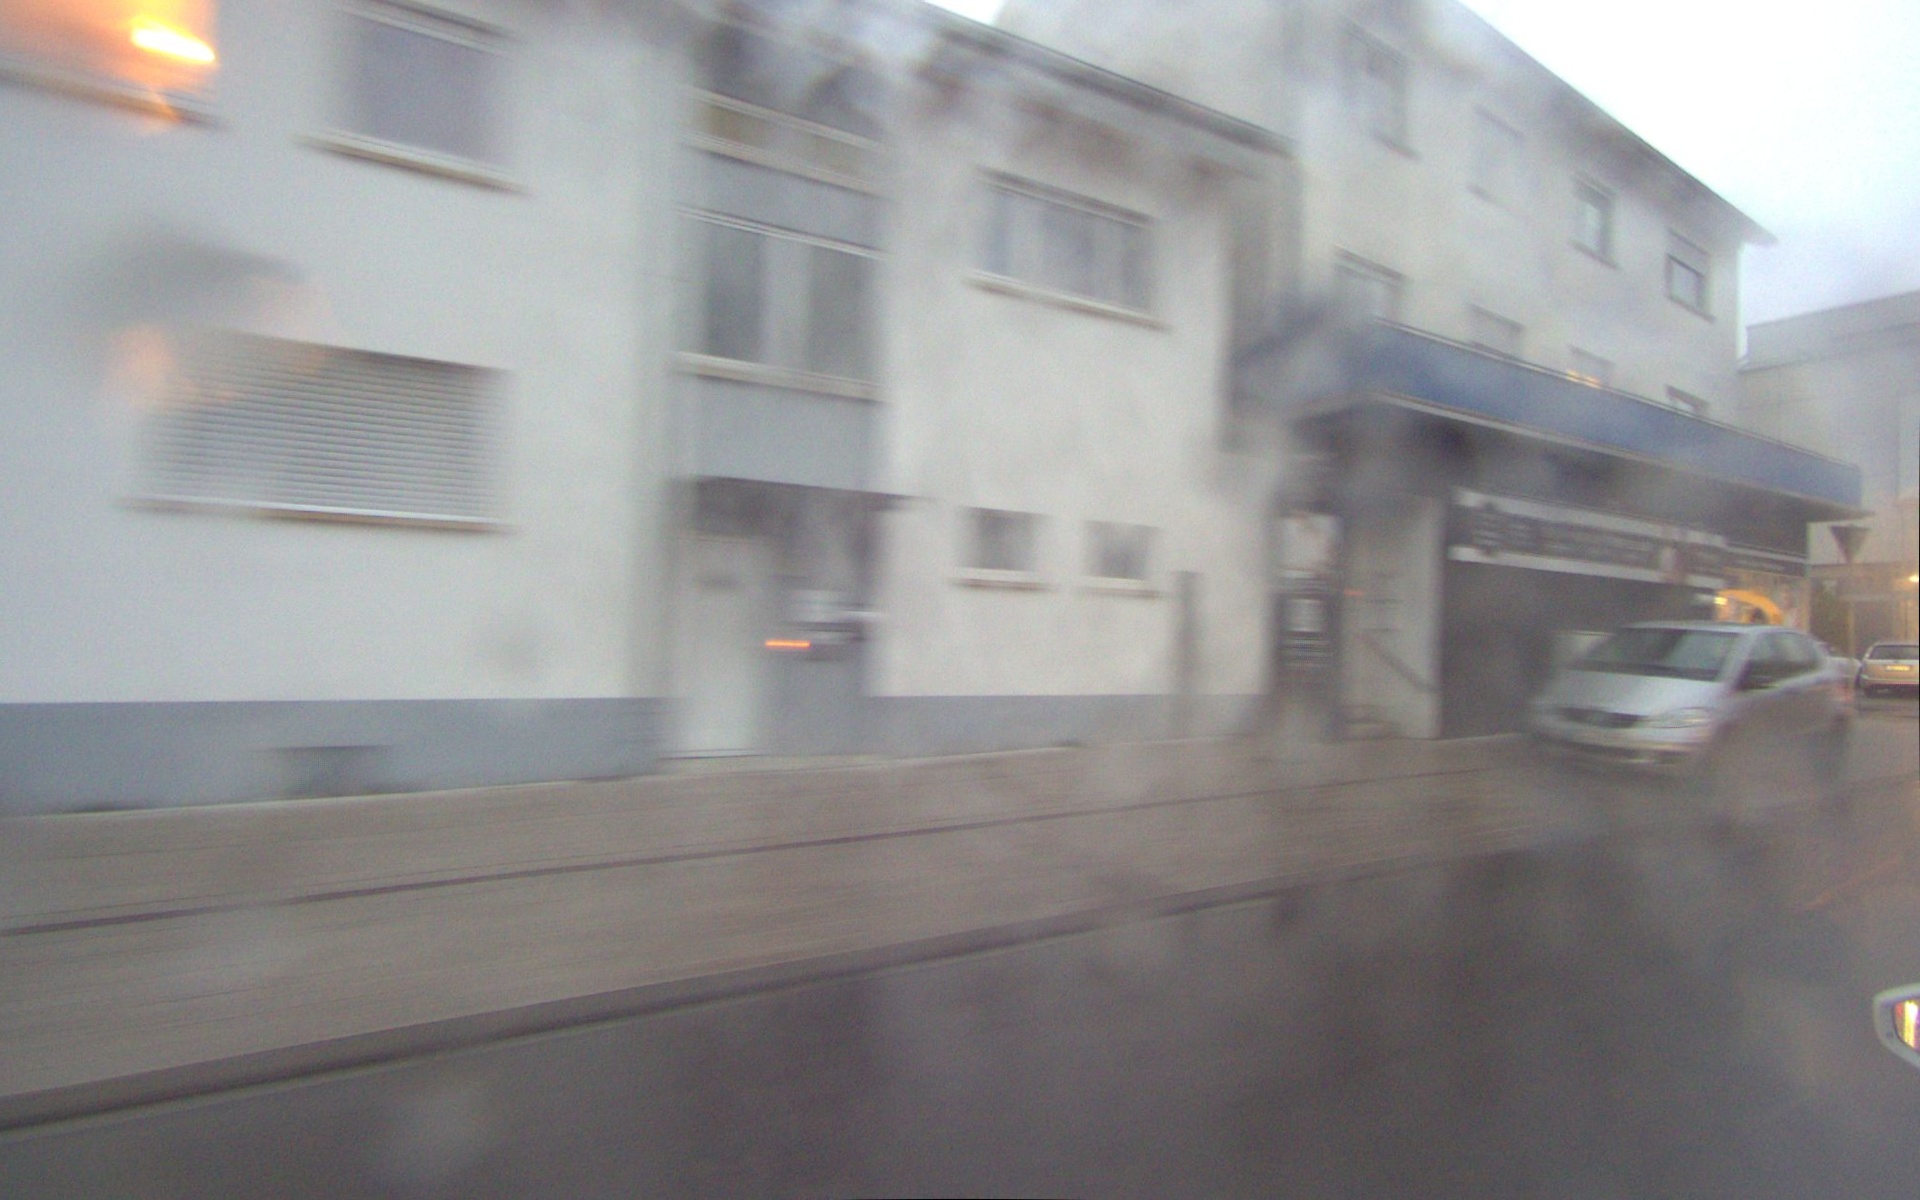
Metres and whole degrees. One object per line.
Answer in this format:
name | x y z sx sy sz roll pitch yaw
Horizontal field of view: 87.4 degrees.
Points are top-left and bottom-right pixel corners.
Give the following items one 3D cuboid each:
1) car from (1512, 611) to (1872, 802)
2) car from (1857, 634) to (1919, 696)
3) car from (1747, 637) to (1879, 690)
car | 7.779 0.994 10.619 3.772 1.636 1.712 1 1 -31
car | 26.525 1.745 27.669 4.405 1.519 1.752 0 -1 -35
car | 25.794 1.871 30.347 4.398 1.419 1.690 0 -1 -30
